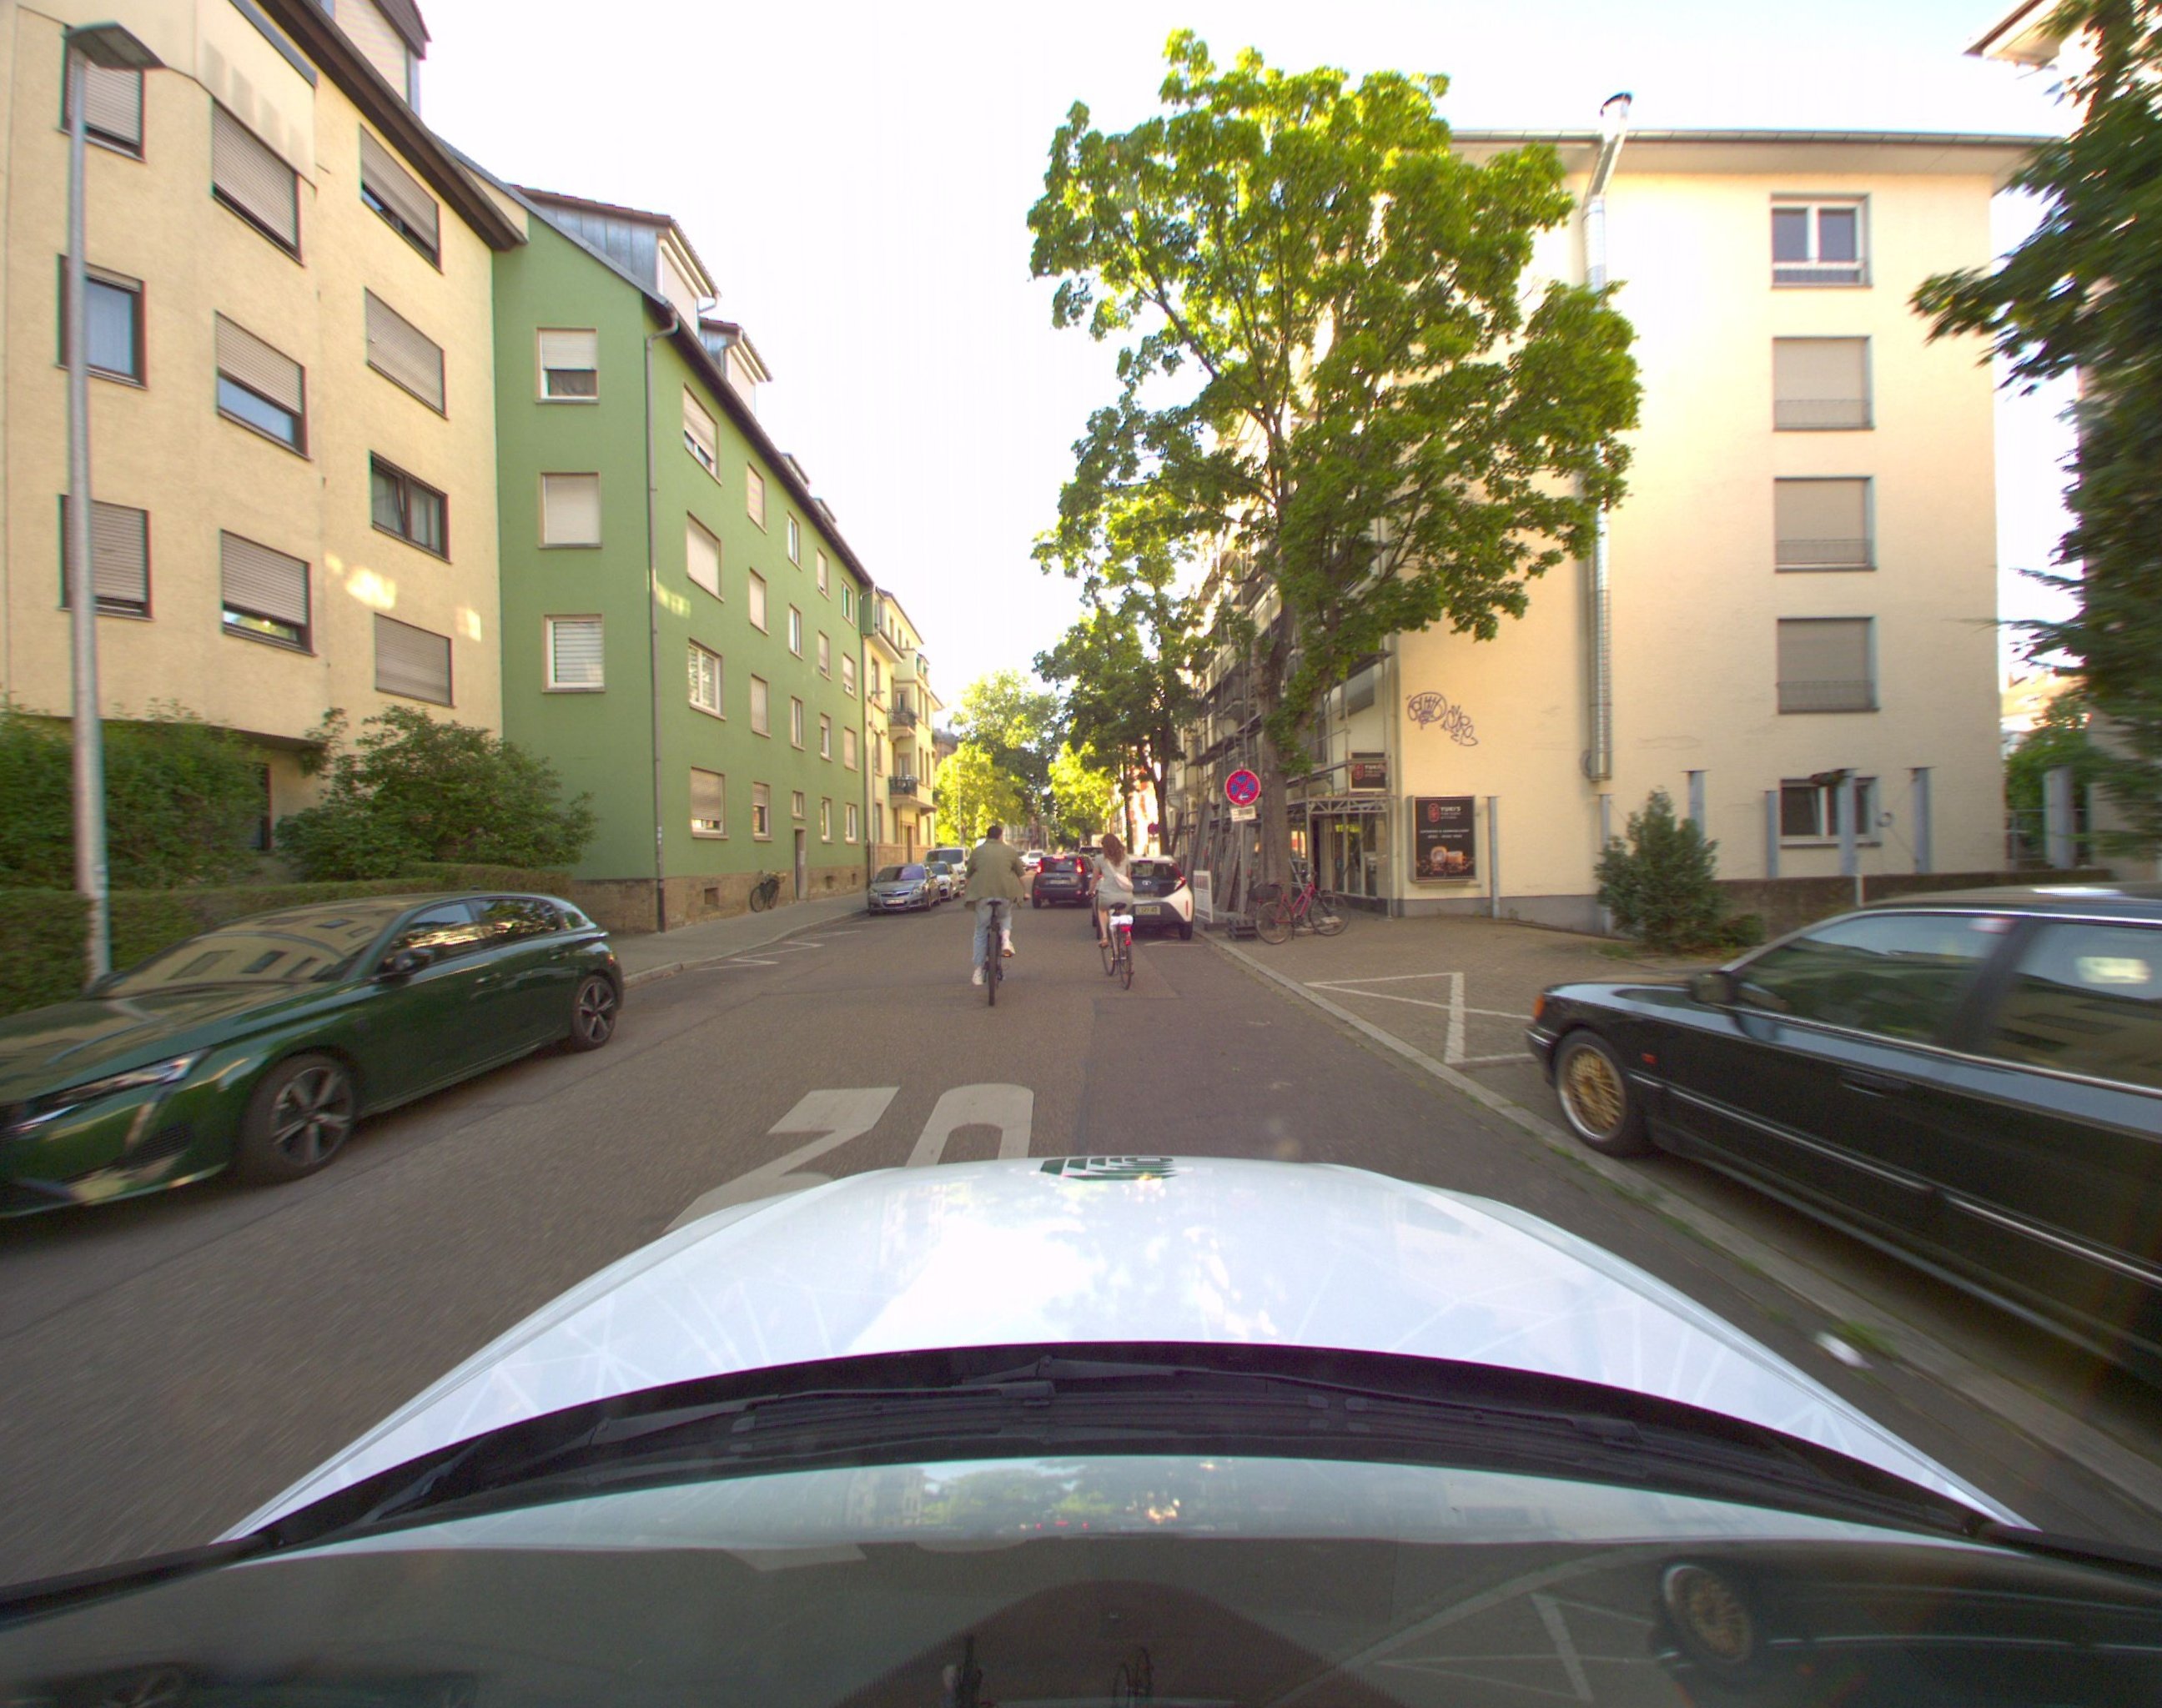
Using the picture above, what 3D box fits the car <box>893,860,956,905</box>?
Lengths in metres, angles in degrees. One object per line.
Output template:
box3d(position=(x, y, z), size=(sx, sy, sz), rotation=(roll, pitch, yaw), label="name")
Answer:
box3d(position=(-5.616, 0.985, 29.579), size=(1.683, 1.453, 3.706), rotation=(-2, 0, -3), label="car")

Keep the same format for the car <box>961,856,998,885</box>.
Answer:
box3d(position=(-5.749, 0.893, 46.492), size=(1.706, 1.504, 3.998), rotation=(-1, 0, -2), label="car")

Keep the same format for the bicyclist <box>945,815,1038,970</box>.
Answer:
box3d(position=(-0.944, 0.414, 8.810), size=(0.879, 1.562, 0.867), rotation=(-2, -3, -1), label="bicyclist")

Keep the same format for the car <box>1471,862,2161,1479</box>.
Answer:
box3d(position=(3.357, 0.758, 2.868), size=(1.703, 1.388, 4.567), rotation=(-1, 0, -1), label="car")

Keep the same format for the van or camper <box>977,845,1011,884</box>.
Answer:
box3d(position=(-6.089, 0.680, 57.242), size=(1.989, 2.553, 5.018), rotation=(-1, 0, -2), label="van or camper")

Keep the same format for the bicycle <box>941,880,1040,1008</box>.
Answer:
box3d(position=(-0.928, 0.903, 8.973), size=(0.836, 1.149, 2.231), rotation=(-2, 0, -1), label="bicycle")

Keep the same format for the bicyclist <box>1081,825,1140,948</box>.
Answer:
box3d(position=(0.344, 0.395, 9.706), size=(0.621, 1.381, 0.868), rotation=(-2, -4, 1), label="bicyclist")

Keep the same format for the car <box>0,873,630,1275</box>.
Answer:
box3d(position=(-4.948, 0.970, 5.301), size=(1.748, 1.497, 4.132), rotation=(-3, 0, -2), label="car")

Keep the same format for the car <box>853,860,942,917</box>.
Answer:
box3d(position=(-5.415, 0.973, 24.558), size=(1.975, 1.455, 4.107), rotation=(-3, 0, -5), label="car")

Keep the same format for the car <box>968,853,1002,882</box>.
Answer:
box3d(position=(-5.972, 0.803, 51.068), size=(1.706, 1.699, 3.998), rotation=(-1, 0, -2), label="car")

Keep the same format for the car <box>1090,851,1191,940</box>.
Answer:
box3d(position=(1.045, 0.713, 15.754), size=(1.670, 1.545, 3.402), rotation=(0, 0, -1), label="car")

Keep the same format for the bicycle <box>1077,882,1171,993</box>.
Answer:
box3d(position=(0.461, 0.938, 9.846), size=(0.837, 1.149, 2.229), rotation=(1, -1, -4), label="bicycle")

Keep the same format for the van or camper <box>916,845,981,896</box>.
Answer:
box3d(position=(-5.662, 0.650, 35.468), size=(1.988, 2.013, 4.910), rotation=(-2, 0, -1), label="van or camper")

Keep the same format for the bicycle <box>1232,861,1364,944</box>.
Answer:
box3d(position=(3.579, 0.766, 13.424), size=(1.986, 1.165, 0.722), rotation=(-4, 1, -20), label="bicycle")

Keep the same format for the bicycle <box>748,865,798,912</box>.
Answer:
box3d(position=(-8.637, 0.938, 22.924), size=(0.549, 1.178, 2.278), rotation=(2, 0, -1), label="bicycle")

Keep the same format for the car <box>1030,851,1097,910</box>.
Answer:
box3d(position=(-0.442, 0.727, 23.798), size=(1.549, 1.533, 3.491), rotation=(-2, 0, 4), label="car")
